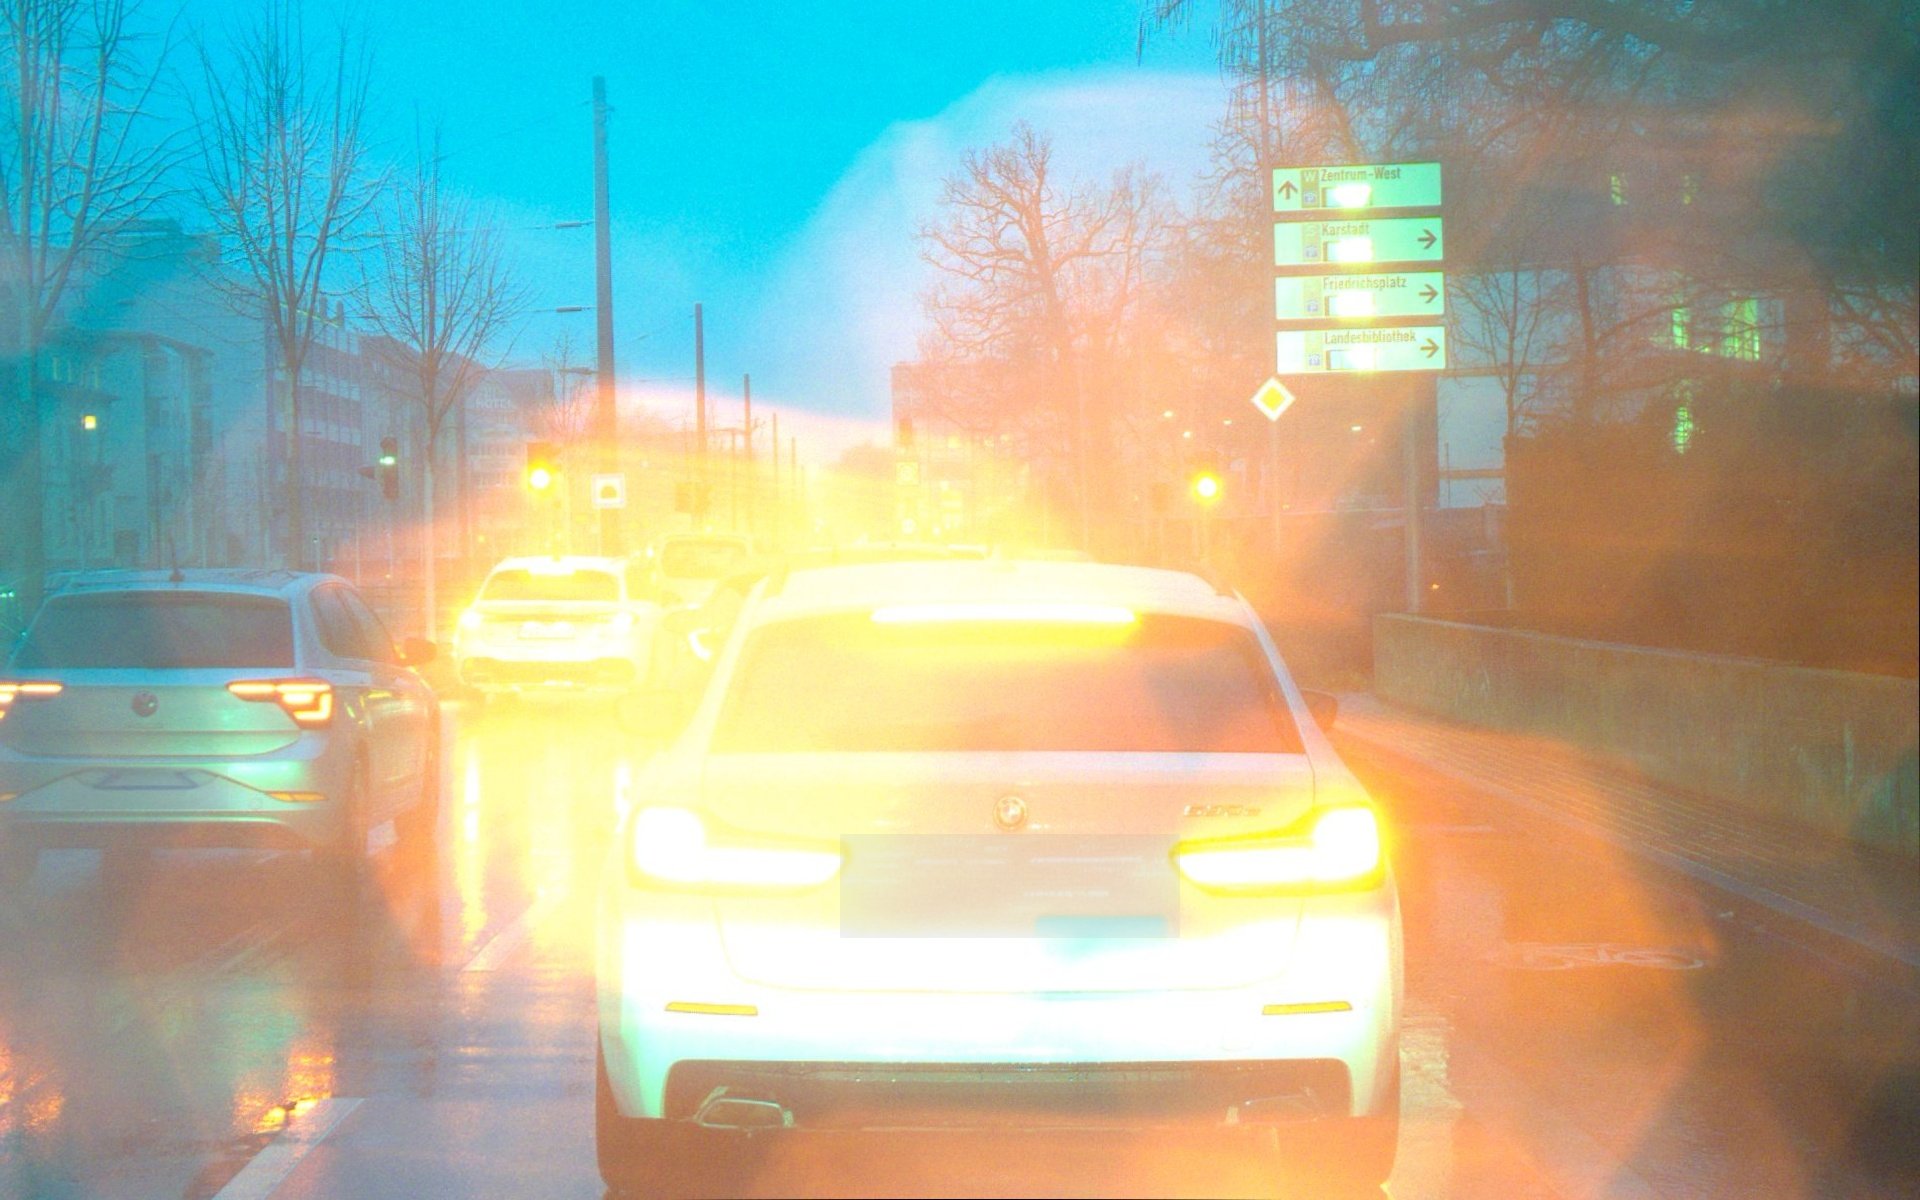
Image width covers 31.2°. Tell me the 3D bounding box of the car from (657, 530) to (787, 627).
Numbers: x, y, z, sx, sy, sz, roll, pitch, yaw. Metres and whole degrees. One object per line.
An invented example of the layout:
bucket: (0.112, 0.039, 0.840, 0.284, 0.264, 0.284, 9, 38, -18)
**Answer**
car: (-3.667, -0.368, 53.518, 1.737, 1.415, 4.394, -1, 1, -1)

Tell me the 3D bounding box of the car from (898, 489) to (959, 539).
car: (-0.943, -2.534, 102.070, 1.737, 1.415, 4.146, -1, 1, -1)

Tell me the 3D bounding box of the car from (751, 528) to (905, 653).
car: (-1.558, -0.149, 41.771, 1.737, 1.415, 3.703, -1, 1, -1)

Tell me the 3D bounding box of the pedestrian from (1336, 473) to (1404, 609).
pedestrian: (6.146, -0.887, 51.575, 0.959, 2.007, 1.007, -1, 1, 5)

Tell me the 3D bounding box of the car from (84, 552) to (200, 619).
car: (-20.092, -0.366, 84.578, 1.993, 1.597, 4.000, 1, 1, -2)

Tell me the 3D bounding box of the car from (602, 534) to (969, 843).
car: (-0.887, 0.414, 19.052, 1.800, 1.505, 3.895, -1, 1, -1)

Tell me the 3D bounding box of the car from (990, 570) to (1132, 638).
car: (2.221, 0.074, 76.334, 1.737, 1.415, 3.704, -2, 1, -23)

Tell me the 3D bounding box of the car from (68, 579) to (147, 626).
car: (-24.545, 0.057, 99.038, 1.690, 1.273, 4.149, -1, 1, -7)

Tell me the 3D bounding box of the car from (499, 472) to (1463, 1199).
car: (0.017, 0.497, 9.217, 1.862, 1.550, 4.938, -1, 1, -1)

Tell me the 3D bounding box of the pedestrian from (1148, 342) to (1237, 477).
pedestrian: (3.541, -2.896, 52.410, 0.958, 2.007, 1.008, -2, 1, -23)

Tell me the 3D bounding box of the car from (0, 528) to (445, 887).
car: (-3.577, 0.420, 16.650, 1.693, 1.528, 4.001, 0, 1, -2)

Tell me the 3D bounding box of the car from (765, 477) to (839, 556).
car: (-3.426, -1.779, 74.188, 1.505, 1.647, 2.845, 1, 1, -4)

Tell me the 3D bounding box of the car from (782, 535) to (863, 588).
car: (-3.473, -0.972, 87.238, 1.930, 1.284, 4.000, 1, 1, -1)

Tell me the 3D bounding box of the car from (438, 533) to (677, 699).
car: (-3.841, 0.103, 33.484, 1.799, 1.461, 4.586, -1, 1, -1)
